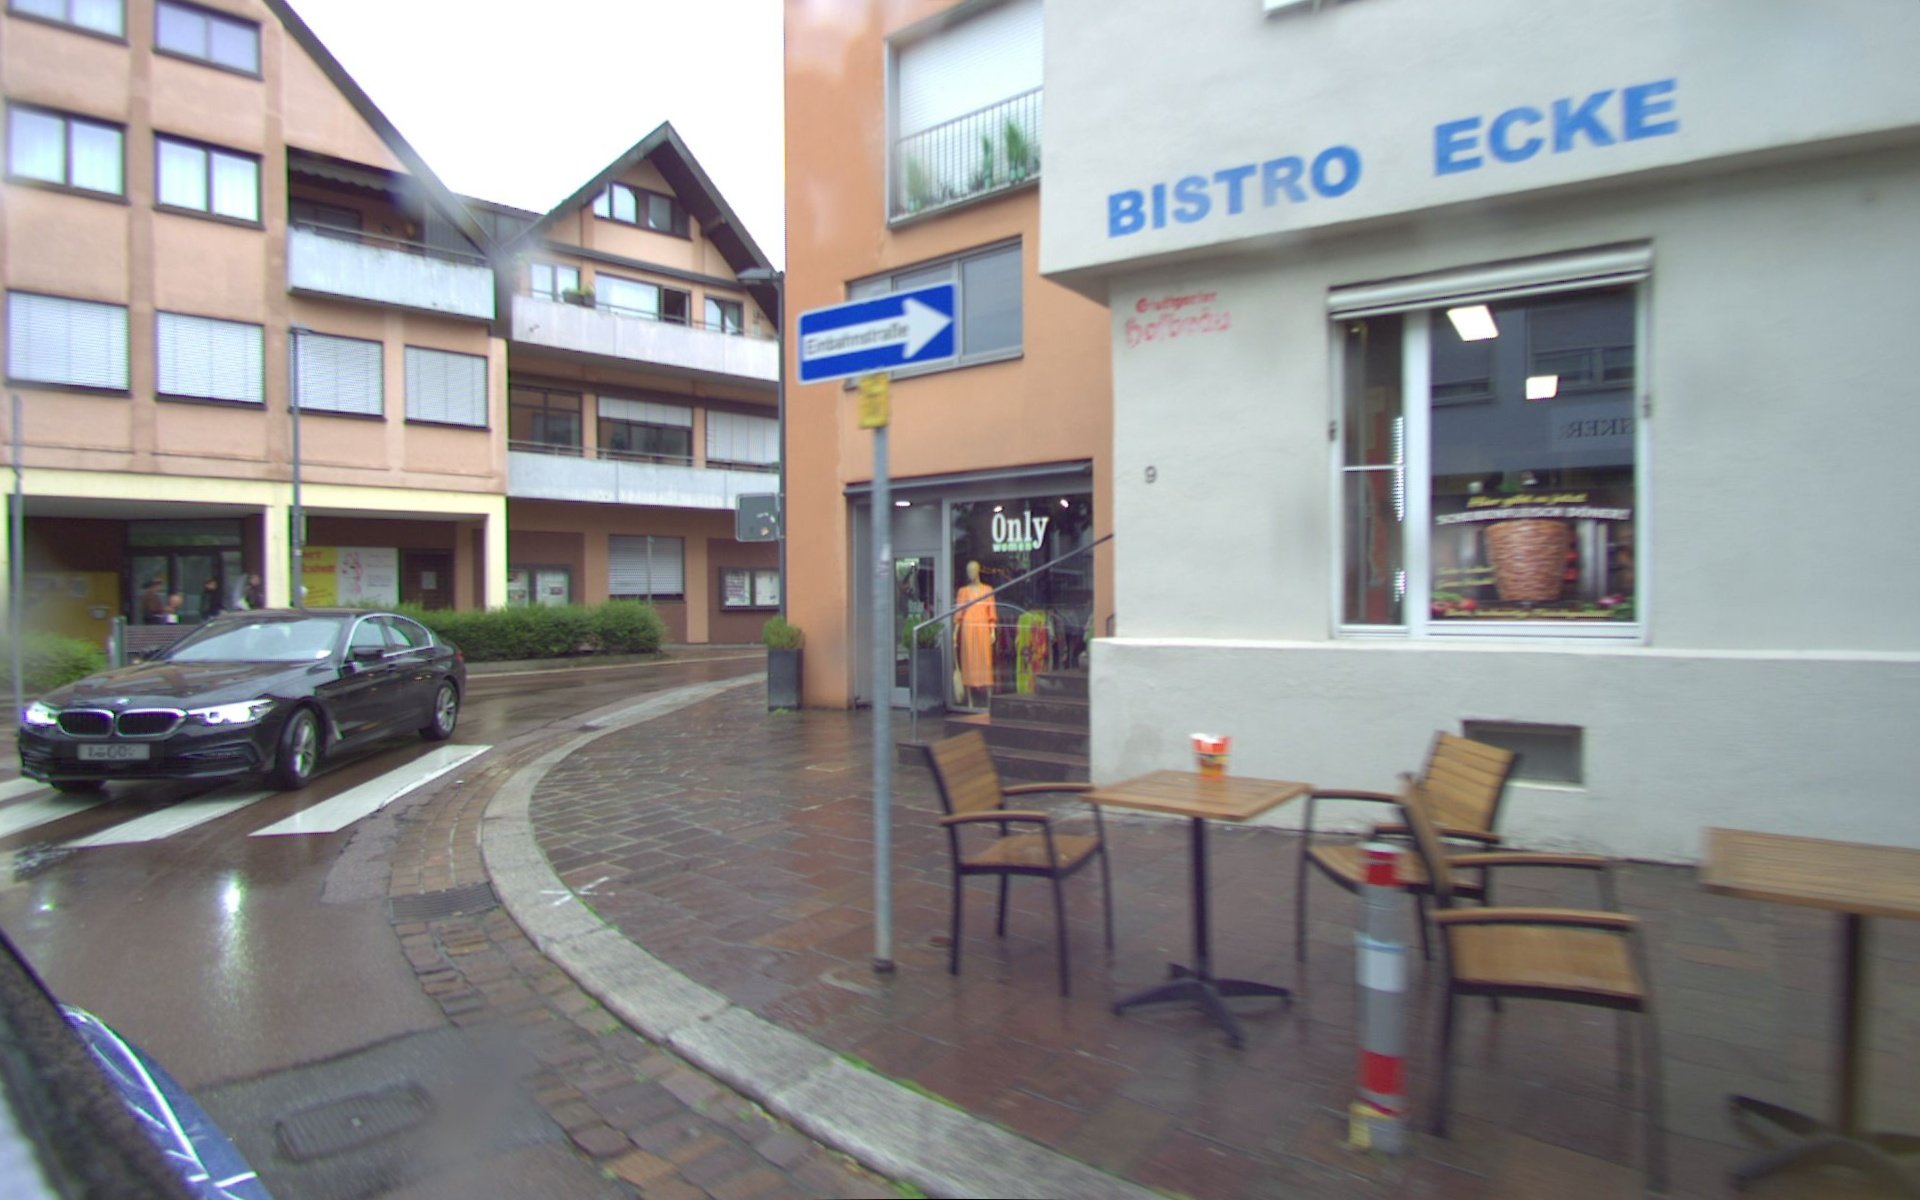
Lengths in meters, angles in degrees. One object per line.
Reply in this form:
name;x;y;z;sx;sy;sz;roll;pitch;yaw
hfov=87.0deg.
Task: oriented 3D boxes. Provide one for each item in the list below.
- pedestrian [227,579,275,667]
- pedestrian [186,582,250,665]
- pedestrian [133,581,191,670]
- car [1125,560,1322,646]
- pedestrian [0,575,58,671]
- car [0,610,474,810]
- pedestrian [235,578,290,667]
pedestrian;-14.063;0.443;20.068;0.721;1.702;0.726;-1;0;-39
pedestrian;-14.879;0.460;20.322;0.698;1.631;0.797;0;0;-2
pedestrian;-14.947;0.459;18.976;0.812;1.616;0.747;0;2;-36
car;10.095;0.126;38.059;8.706;2.896;2.716;0;-1;-41
pedestrian;-17.011;0.403;18.502;0.731;1.702;0.637;-1;0;-39
car;-6.411;0.820;9.495;1.918;1.413;4.425;1;-1;-6
pedestrian;-13.500;0.426;19.585;0.808;1.674;0.699;-1;0;-40
